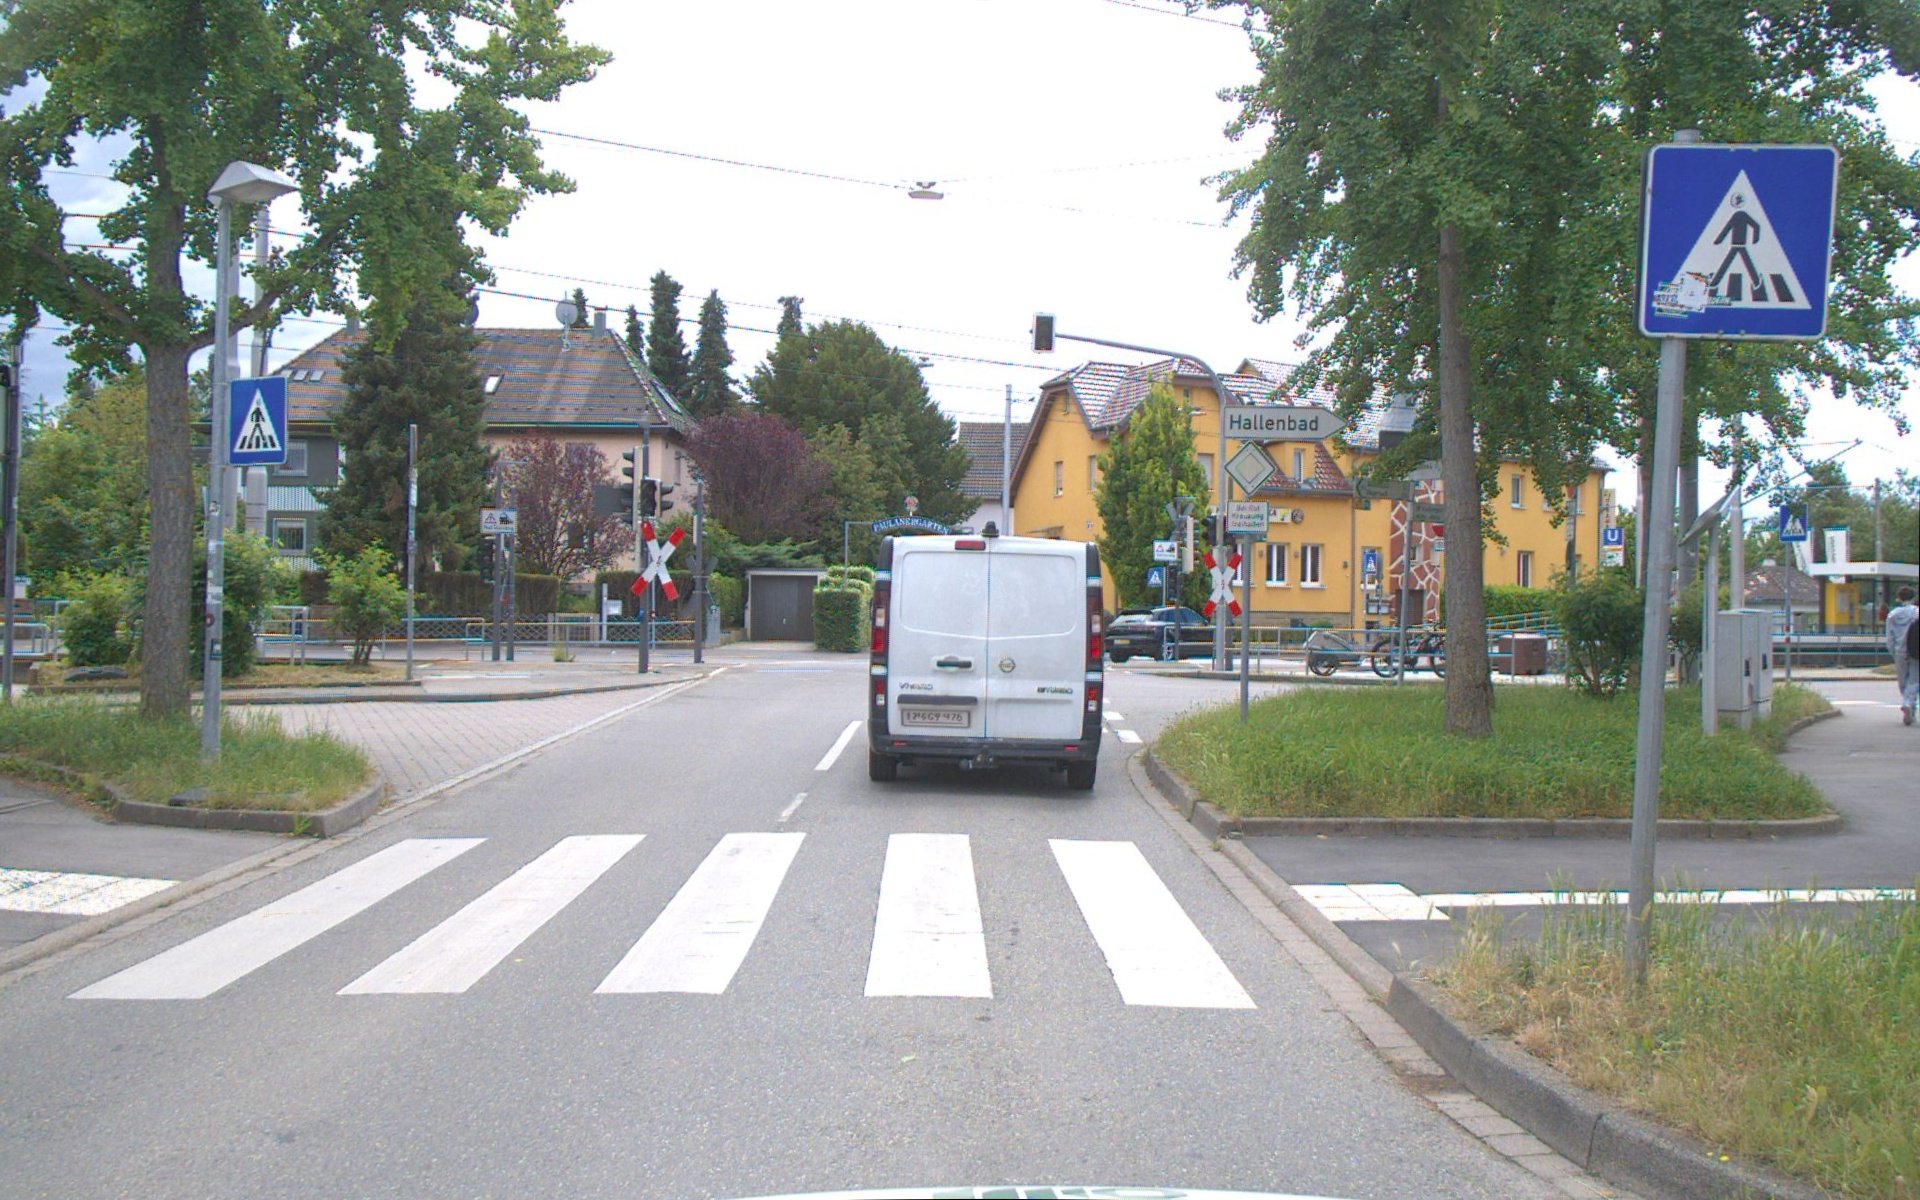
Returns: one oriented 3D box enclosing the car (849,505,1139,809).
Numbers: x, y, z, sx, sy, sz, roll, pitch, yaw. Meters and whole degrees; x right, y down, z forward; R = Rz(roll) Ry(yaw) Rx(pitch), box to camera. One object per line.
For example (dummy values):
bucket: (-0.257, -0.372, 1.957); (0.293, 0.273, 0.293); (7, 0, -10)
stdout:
car: (0.159, 0.420, 14.821); (2.074, 2.171, 5.438); (1, 0, -2)

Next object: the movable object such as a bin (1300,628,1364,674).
movable object such as a bin: (7.145, 0.973, 31.770); (1.069, 0.839, 0.579); (1, -1, -5)

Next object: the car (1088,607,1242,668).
car: (5.973, 1.085, 47.841); (2.322, 1.591, 4.345); (2, 0, 42)

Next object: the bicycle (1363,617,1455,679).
bicycle: (8.626, 0.923, 31.766); (1.655, 1.176, 0.466); (1, -1, -9)

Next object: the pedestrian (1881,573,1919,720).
pedestrian: (12.873, 0.618, 22.378); (0.613, 1.948, 0.828); (-1, -1, 36)
